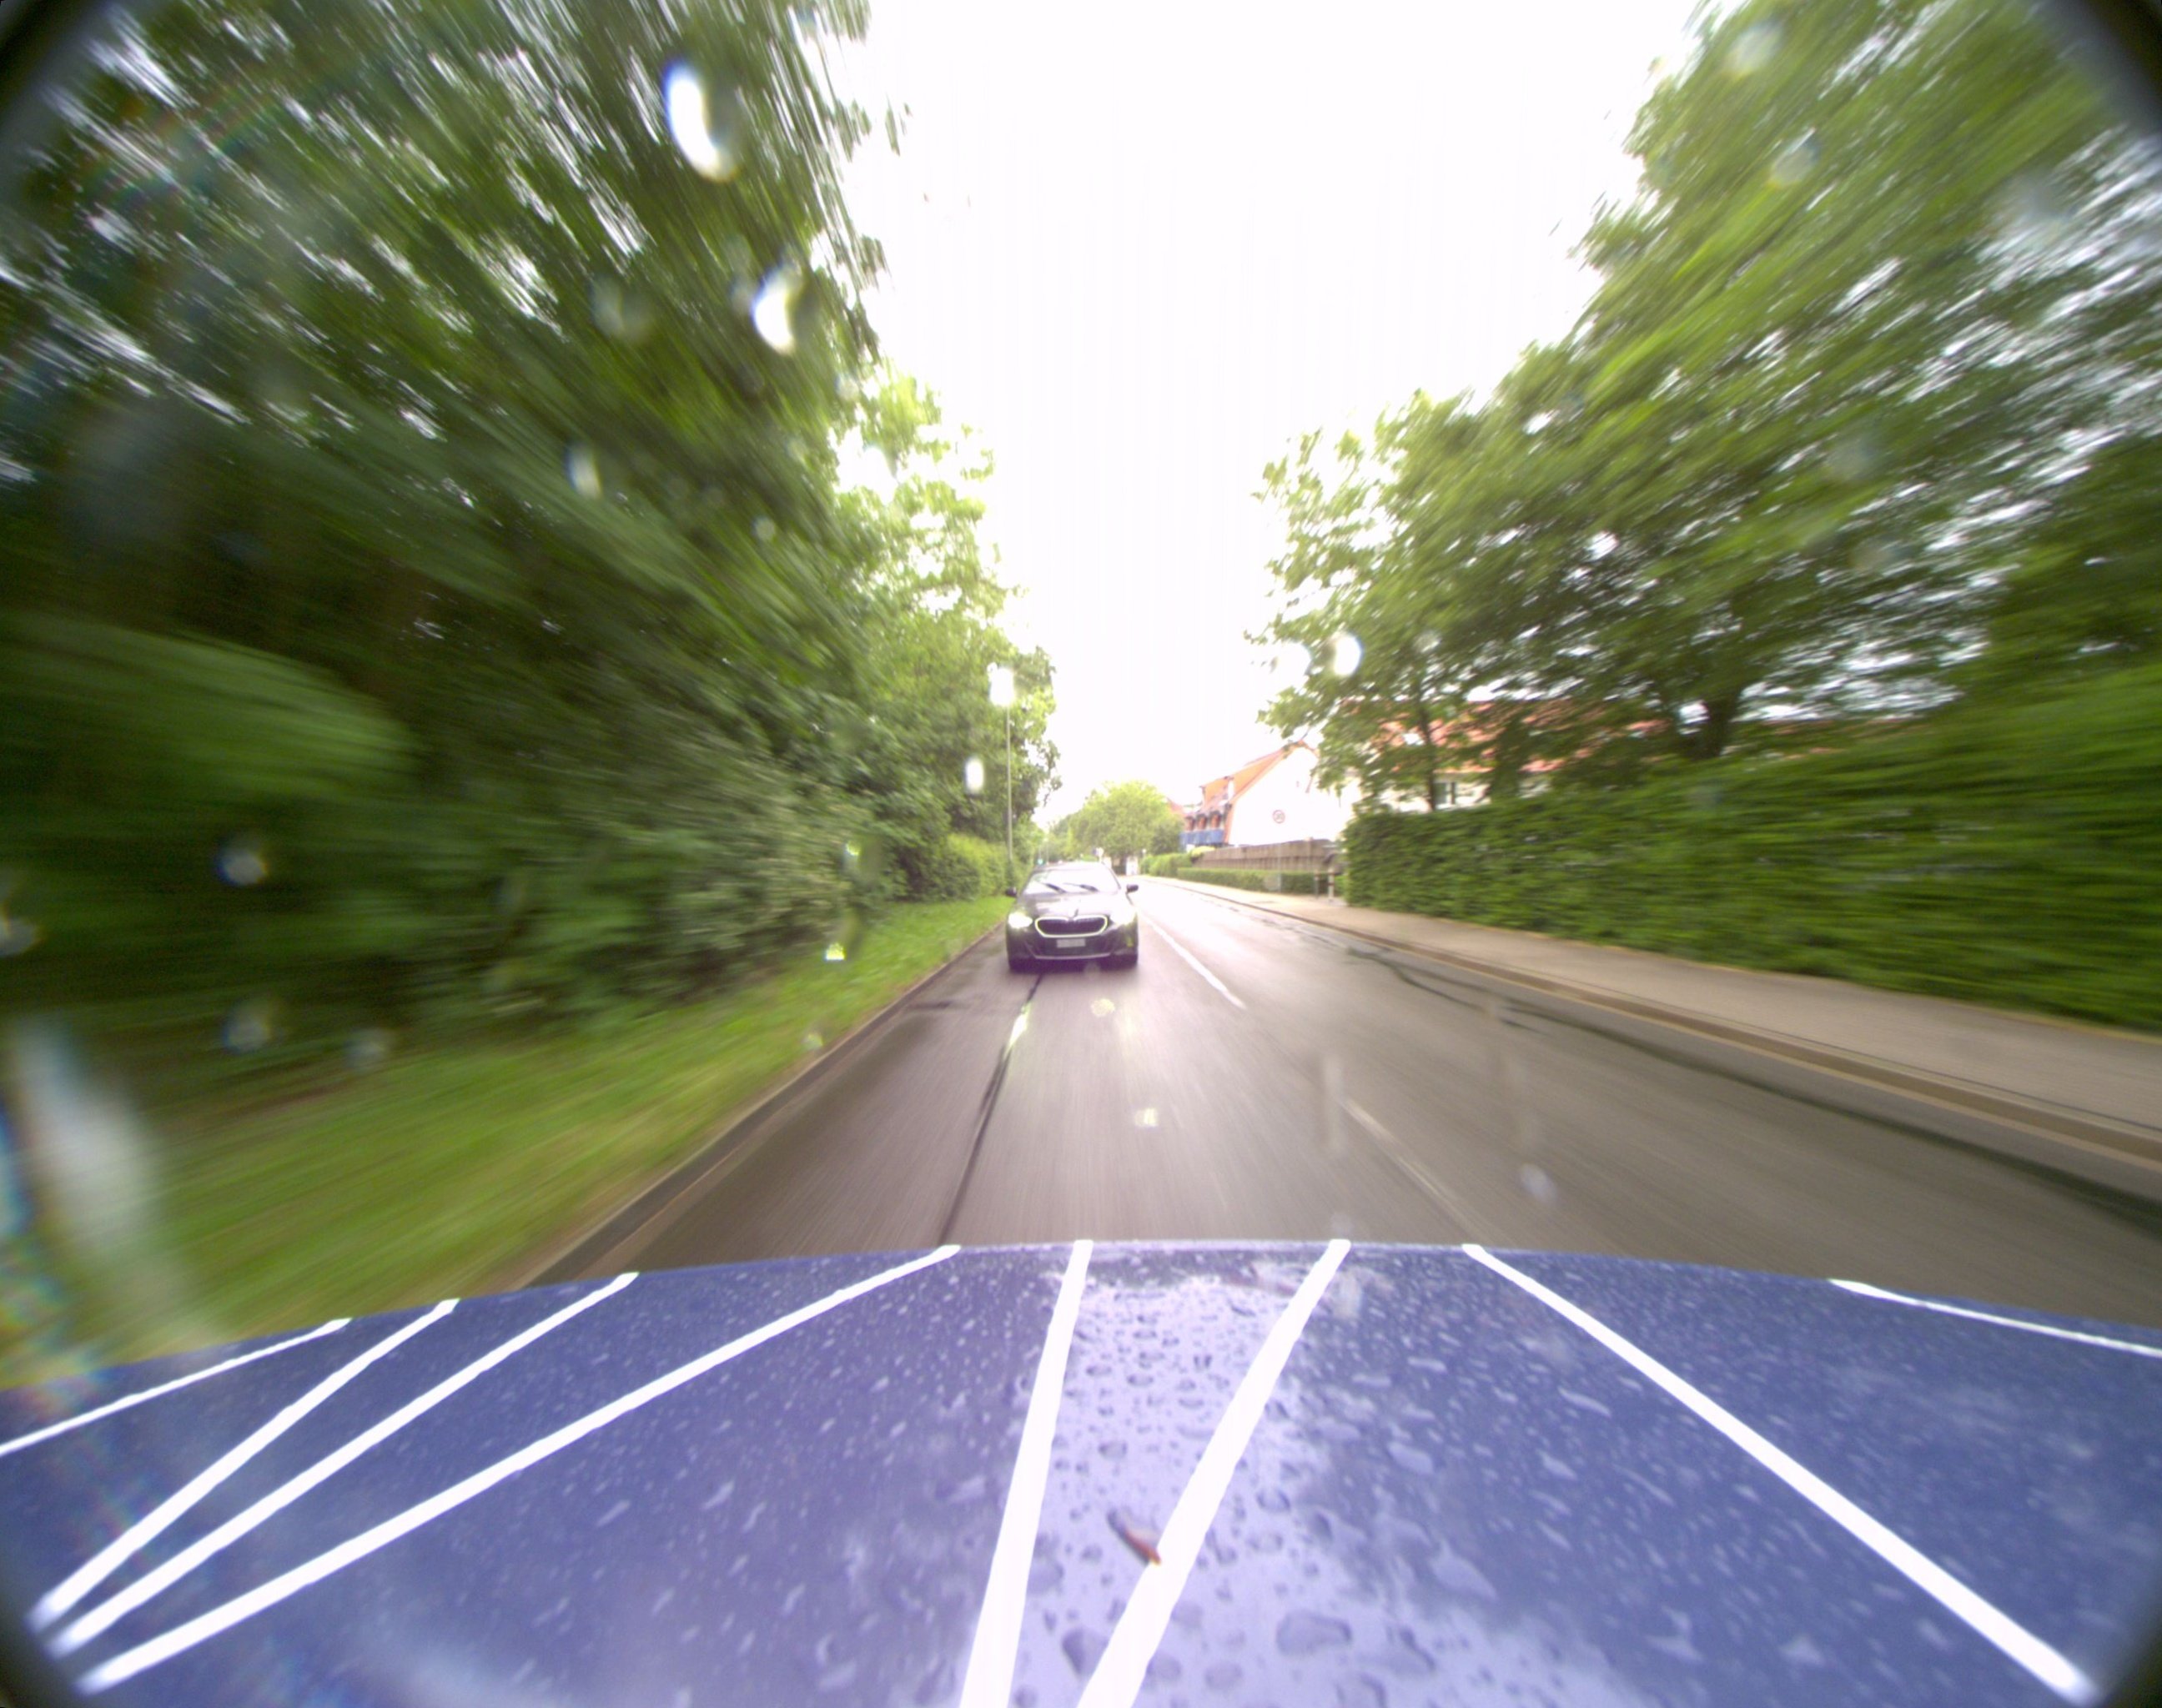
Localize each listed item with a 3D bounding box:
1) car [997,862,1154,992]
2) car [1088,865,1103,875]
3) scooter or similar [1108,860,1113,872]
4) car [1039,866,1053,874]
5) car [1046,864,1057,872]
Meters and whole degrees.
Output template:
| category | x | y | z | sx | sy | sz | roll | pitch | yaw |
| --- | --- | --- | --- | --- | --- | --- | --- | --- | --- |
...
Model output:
| category | x | y | z | sx | sy | sz | roll | pitch | yaw |
| --- | --- | --- | --- | --- | --- | --- | --- | --- | --- |
| car | -0.258 | 1.013 | 12.165 | 1.999 | 1.586 | 4.146 | -4 | -1 | -5 |
| car | 2.018 | 2.269 | 109.677 | 1.999 | 1.411 | 4.485 | 1 | -1 | -1 |
| scooter or similar | 4.554 | 1.845 | 116.697 | 0.402 | 1.765 | 1.511 | -2 | 0 | -10 |
| car | -7.596 | 3.440 | 163.538 | 2.002 | 1.651 | 4.298 | 0 | -1 | -18 |
| car | -6.120 | 2.970 | 157.077 | 2.000 | 1.420 | 4.387 | 4 | -3 | -6 |
